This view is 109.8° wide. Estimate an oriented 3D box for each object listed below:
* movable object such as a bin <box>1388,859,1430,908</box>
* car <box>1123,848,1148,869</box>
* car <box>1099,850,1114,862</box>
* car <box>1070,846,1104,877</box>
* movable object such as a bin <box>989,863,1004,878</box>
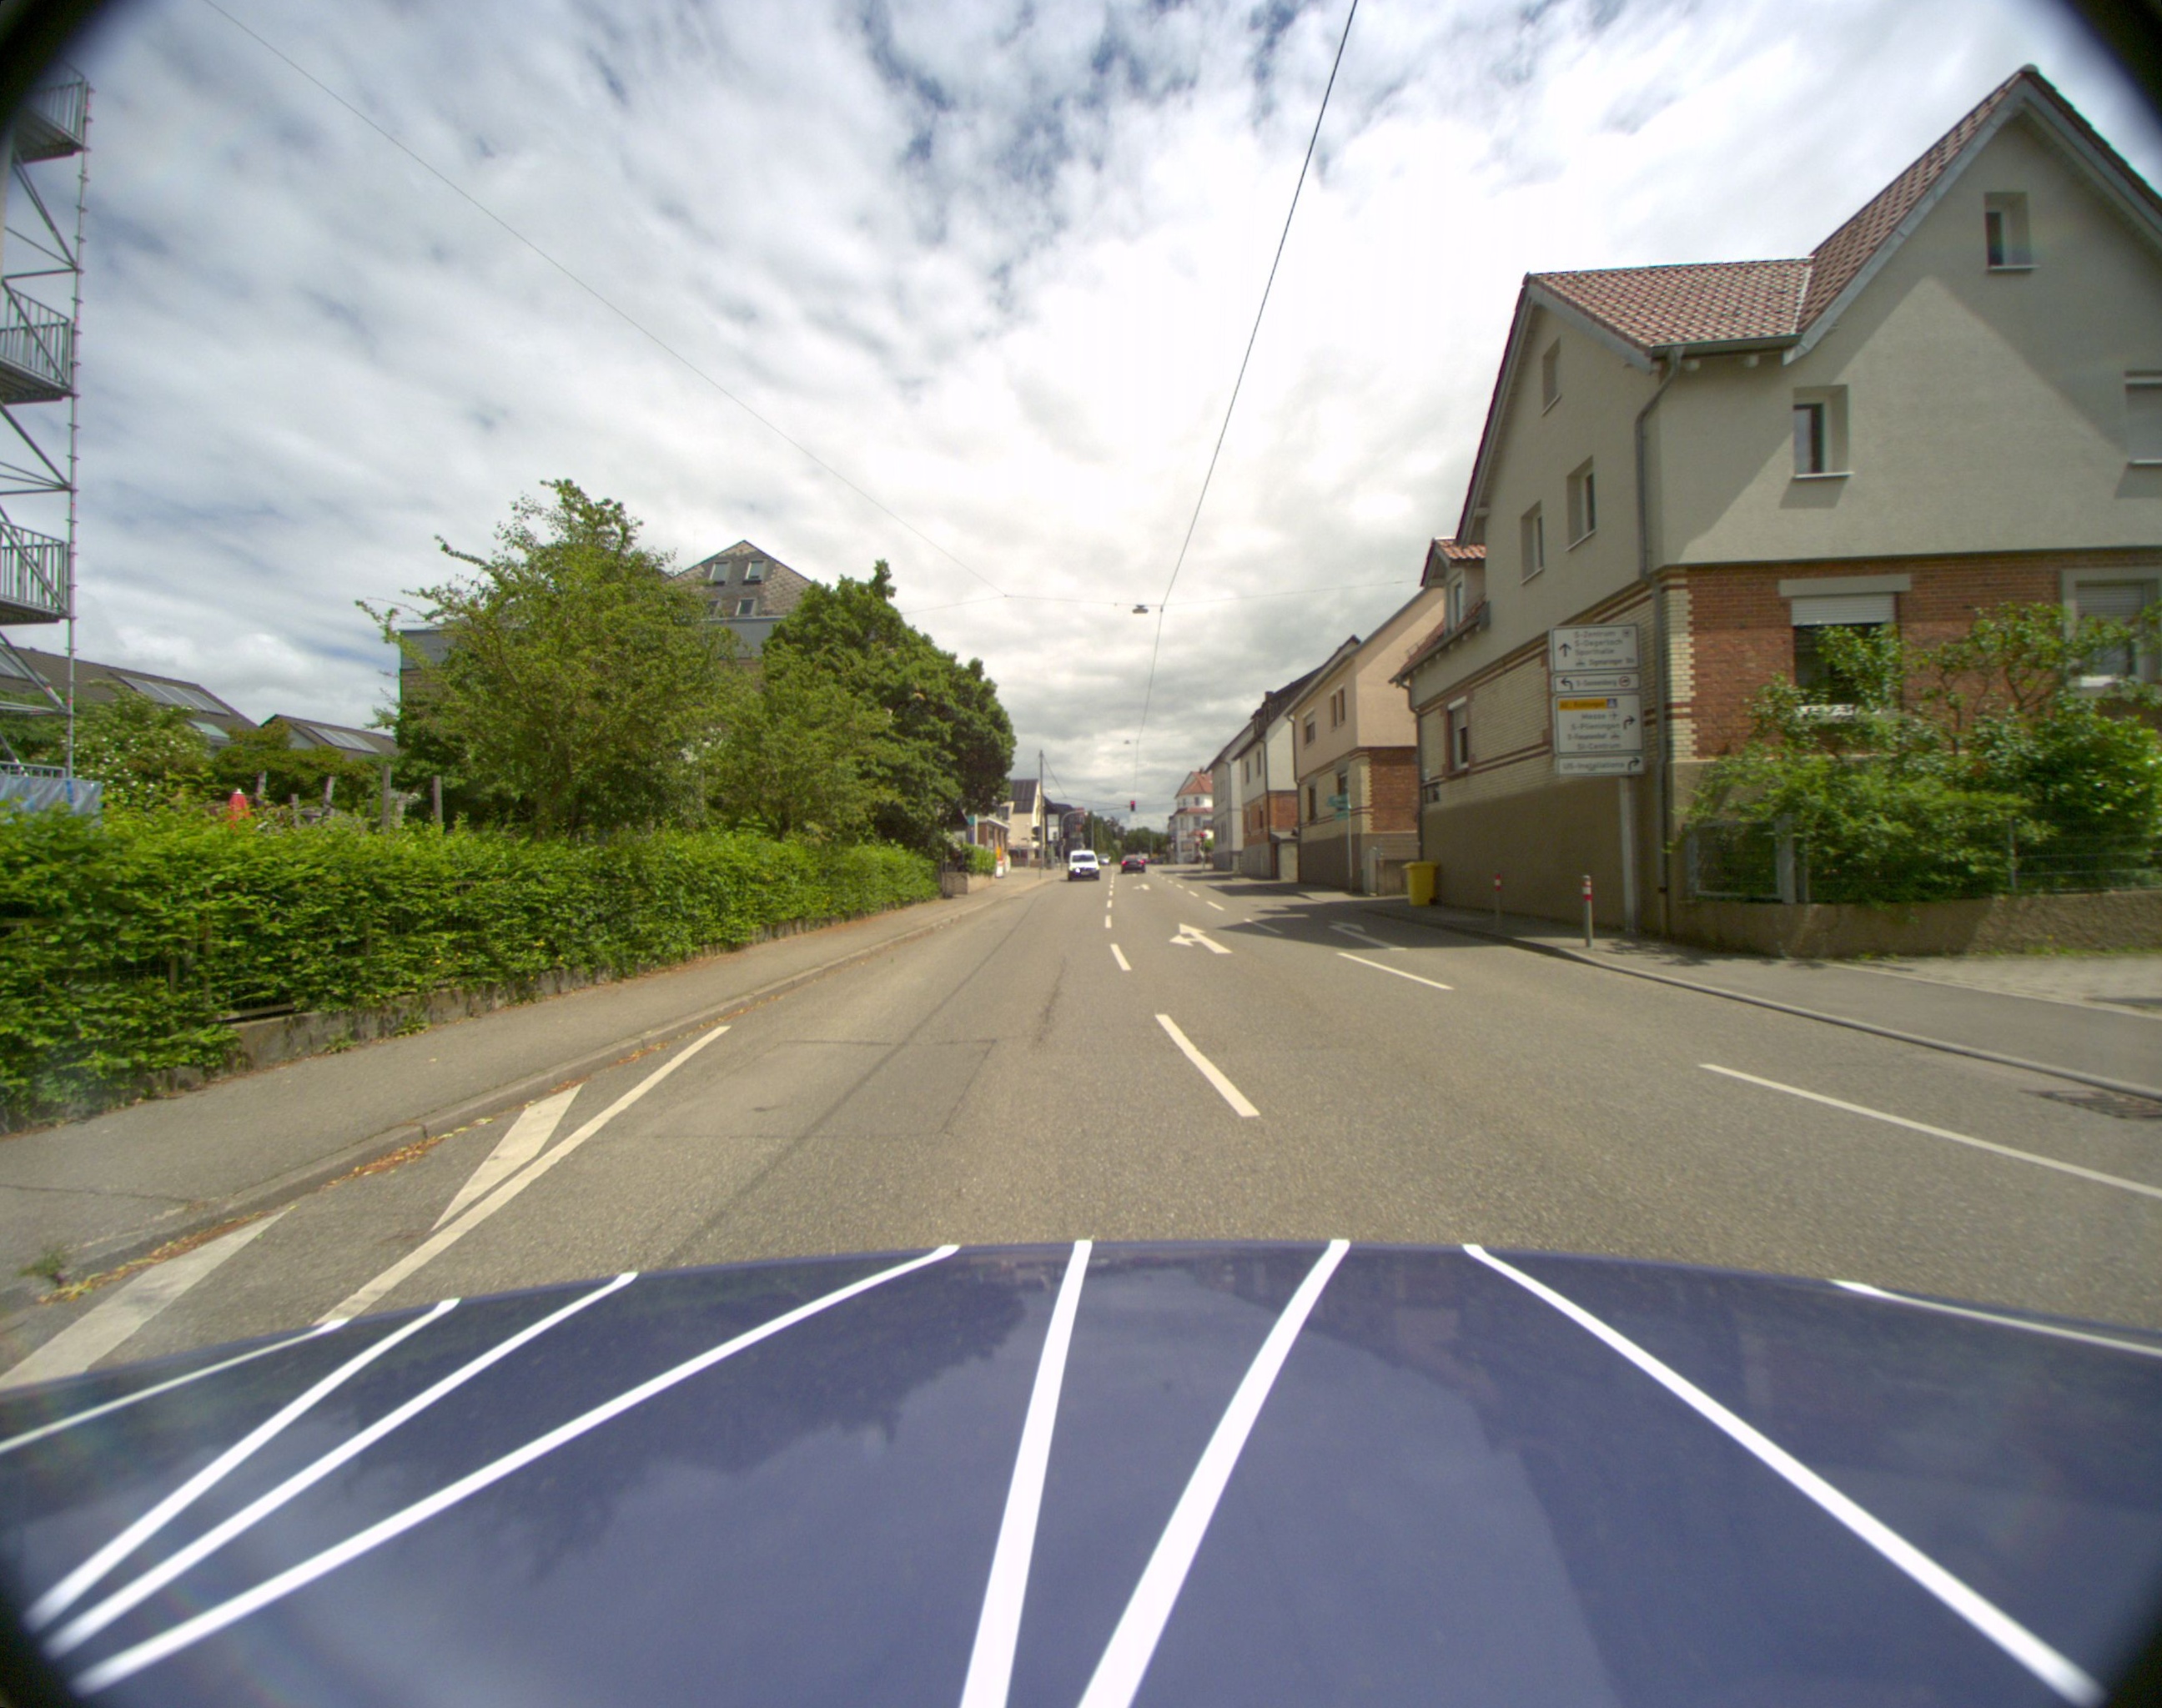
[{"bbox_3d":[8.076,0.708,18.735,0.766,1.155,0.803,-2,1,12],"label":"movable object such as a bin"},{"bbox_3d":[4.222,0.365,59.687,1.795,1.477,4.001,-3,-1,3],"label":"car"},{"bbox_3d":[3.208,0.275,96.092,1.795,1.477,4.001,-3,-1,3],"label":"car"},{"bbox_3d":[0.301,0.425,45.381,1.893,1.718,4.292,-1,0,0],"label":"car"},{"bbox_3d":[-5.273,1.015,47.408,0.789,0.909,0.470,4,1,1],"label":"movable object such as a bin"}]
